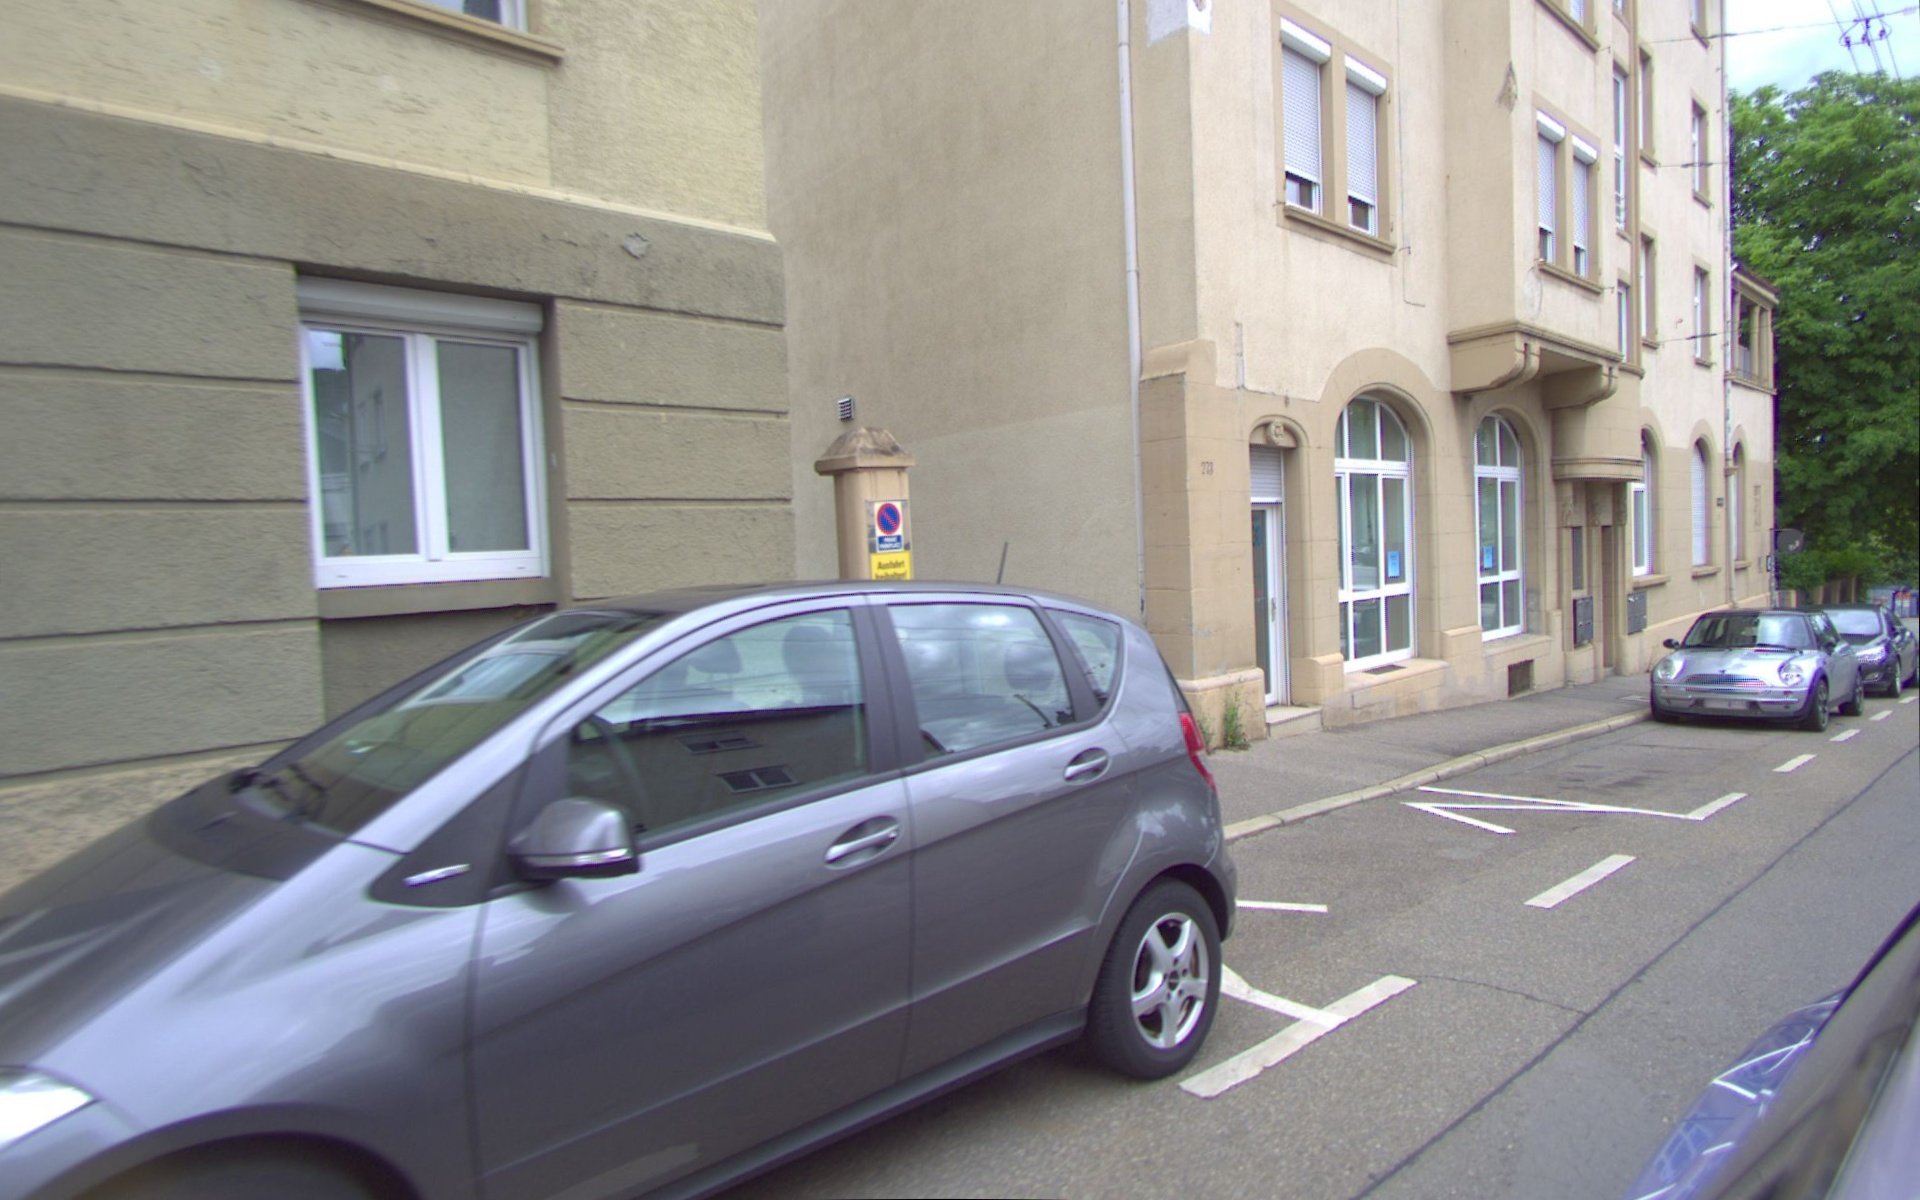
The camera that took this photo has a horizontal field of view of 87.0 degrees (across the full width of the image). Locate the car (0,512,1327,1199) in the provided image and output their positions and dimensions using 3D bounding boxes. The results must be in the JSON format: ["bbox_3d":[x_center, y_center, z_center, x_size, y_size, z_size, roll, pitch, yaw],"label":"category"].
[{"bbox_3d":[-0.767,0.670,3.115,3.956,1.538,1.830,0,-2,-40],"label":"car"}]

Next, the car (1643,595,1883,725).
[{"bbox_3d":[10.274,0.676,12.878,3.602,1.422,1.698,0,-2,-40],"label":"car"}]

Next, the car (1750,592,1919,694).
[{"bbox_3d":[14.681,0.630,16.685,4.095,1.421,1.842,-1,-1,-41],"label":"car"}]
